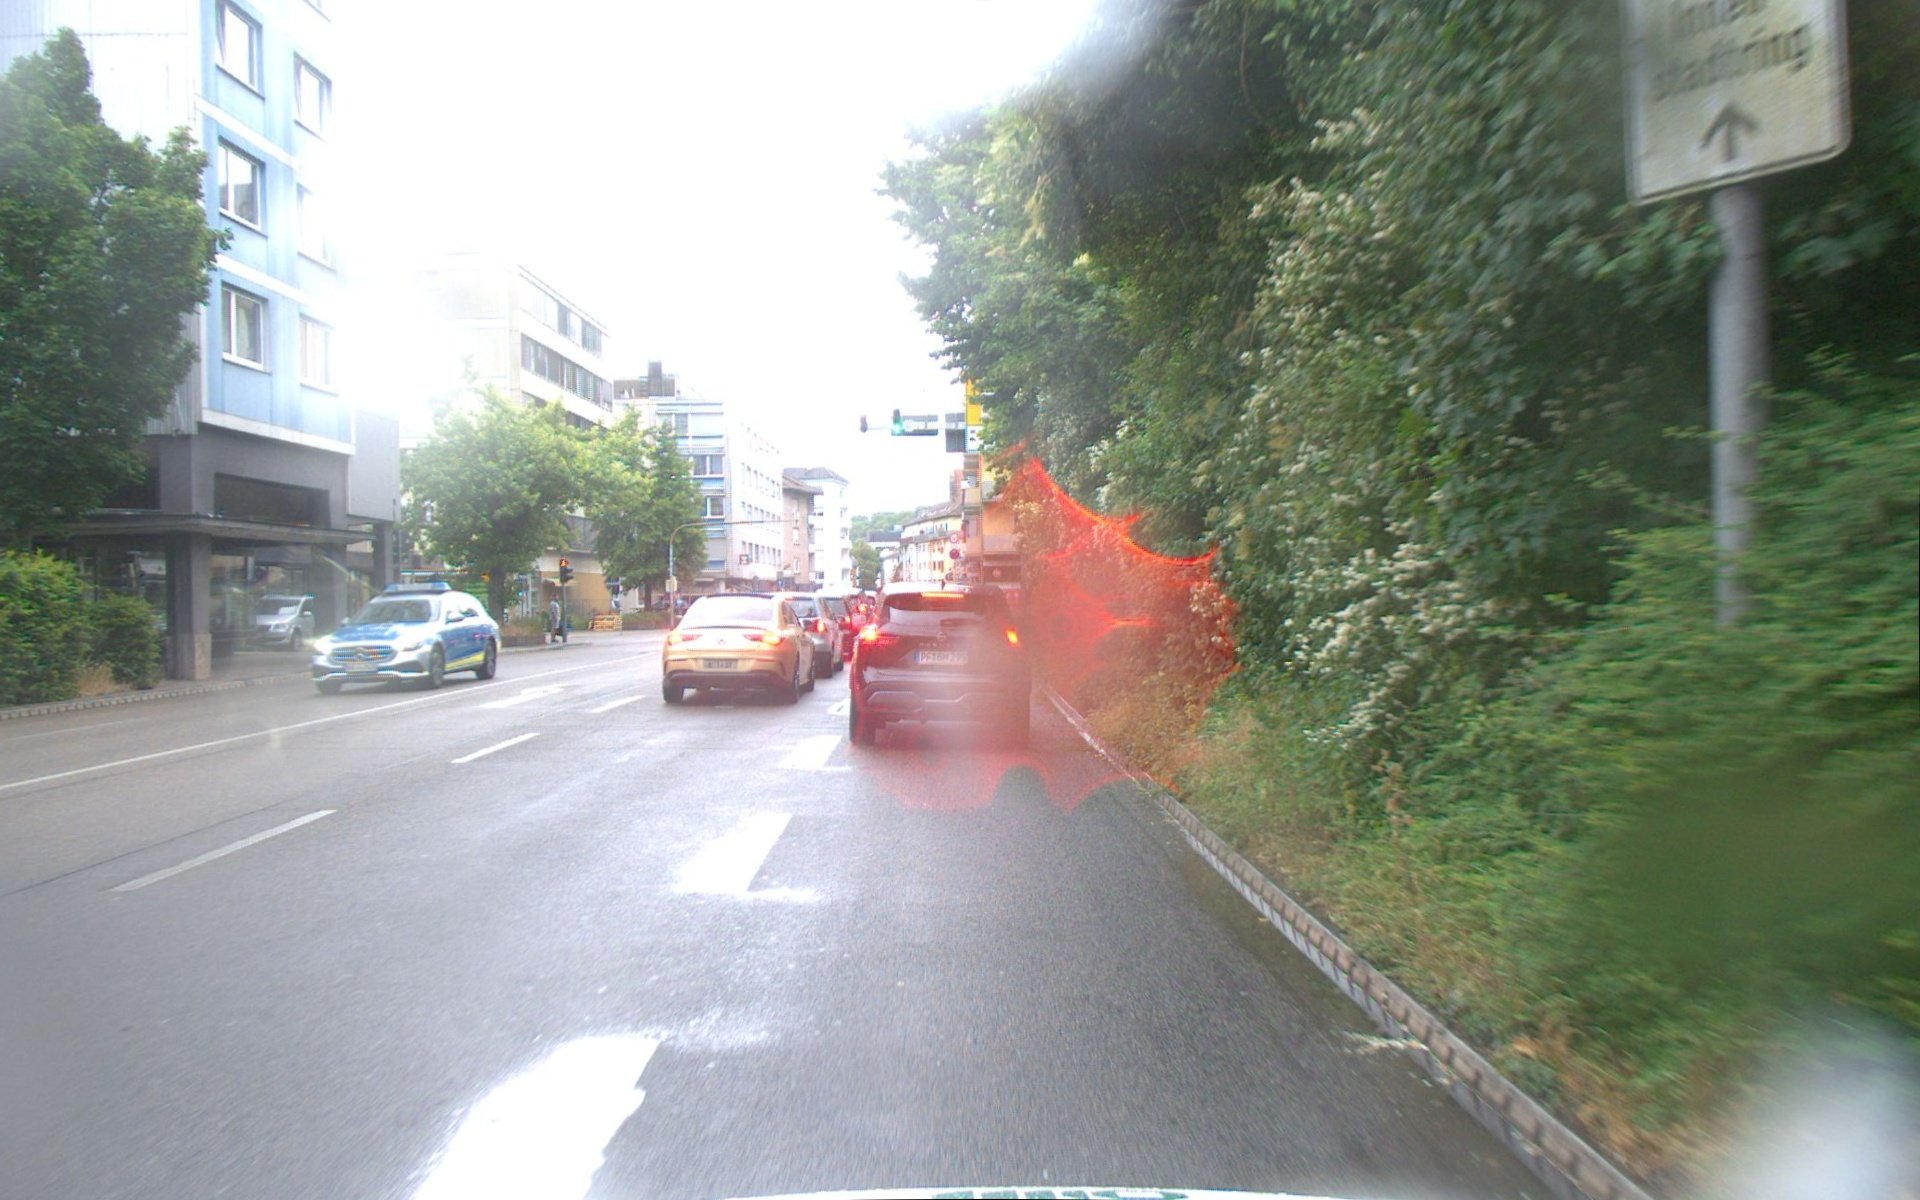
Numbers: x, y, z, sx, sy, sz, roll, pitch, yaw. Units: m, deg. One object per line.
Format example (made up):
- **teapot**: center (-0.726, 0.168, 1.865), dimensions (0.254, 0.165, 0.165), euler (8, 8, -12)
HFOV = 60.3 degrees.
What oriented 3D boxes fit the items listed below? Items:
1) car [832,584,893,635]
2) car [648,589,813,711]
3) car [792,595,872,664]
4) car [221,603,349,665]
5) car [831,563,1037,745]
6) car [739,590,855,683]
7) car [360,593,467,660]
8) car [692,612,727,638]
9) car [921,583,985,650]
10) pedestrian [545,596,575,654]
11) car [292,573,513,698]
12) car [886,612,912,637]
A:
- **car**: center (-3.014, 0.279, 51.748), dimensions (1.731, 1.469, 3.999), euler (-2, 0, -1)
- **car**: center (-3.162, 0.616, 23.126), dimensions (2.027, 1.489, 4.579), euler (-1, 0, -7)
- **car**: center (-2.821, 0.619, 37.089), dimensions (1.580, 1.445, 3.965), euler (-1, 0, -1)
- **car**: center (-19.669, 0.959, 48.405), dimensions (1.953, 1.684, 4.510), euler (-1, 0, -1)
- **car**: center (-0.295, 0.499, 17.539), dimensions (1.920, 1.681, 3.999), euler (-1, 0, -2)
- **car**: center (-2.872, 0.616, 29.866), dimensions (1.708, 1.513, 4.161), euler (-2, 0, -1)
- **car**: center (-14.864, 0.699, 45.163), dimensions (1.508, 1.736, 4.287), euler (0, 0, 0)
- **car**: center (-15.606, 1.571, 103.148), dimensions (1.639, 1.504, 3.606), euler (-3, 0, -2)
- **car**: center (-0.214, 0.518, 54.117), dimensions (1.953, 2.049, 4.000), euler (-1, 0, 0)
- **pedestrian**: center (-14.595, 0.921, 60.399), dimensions (0.923, 2.049, 0.884), euler (-3, 0, -10)
- **car**: center (-8.942, 0.518, 27.015), dimensions (1.953, 1.780, 4.807), euler (-2, 0, -1)
- **car**: center (-5.351, 2.105, 145.235), dimensions (1.953, 2.048, 4.000), euler (-3, 0, 1)
